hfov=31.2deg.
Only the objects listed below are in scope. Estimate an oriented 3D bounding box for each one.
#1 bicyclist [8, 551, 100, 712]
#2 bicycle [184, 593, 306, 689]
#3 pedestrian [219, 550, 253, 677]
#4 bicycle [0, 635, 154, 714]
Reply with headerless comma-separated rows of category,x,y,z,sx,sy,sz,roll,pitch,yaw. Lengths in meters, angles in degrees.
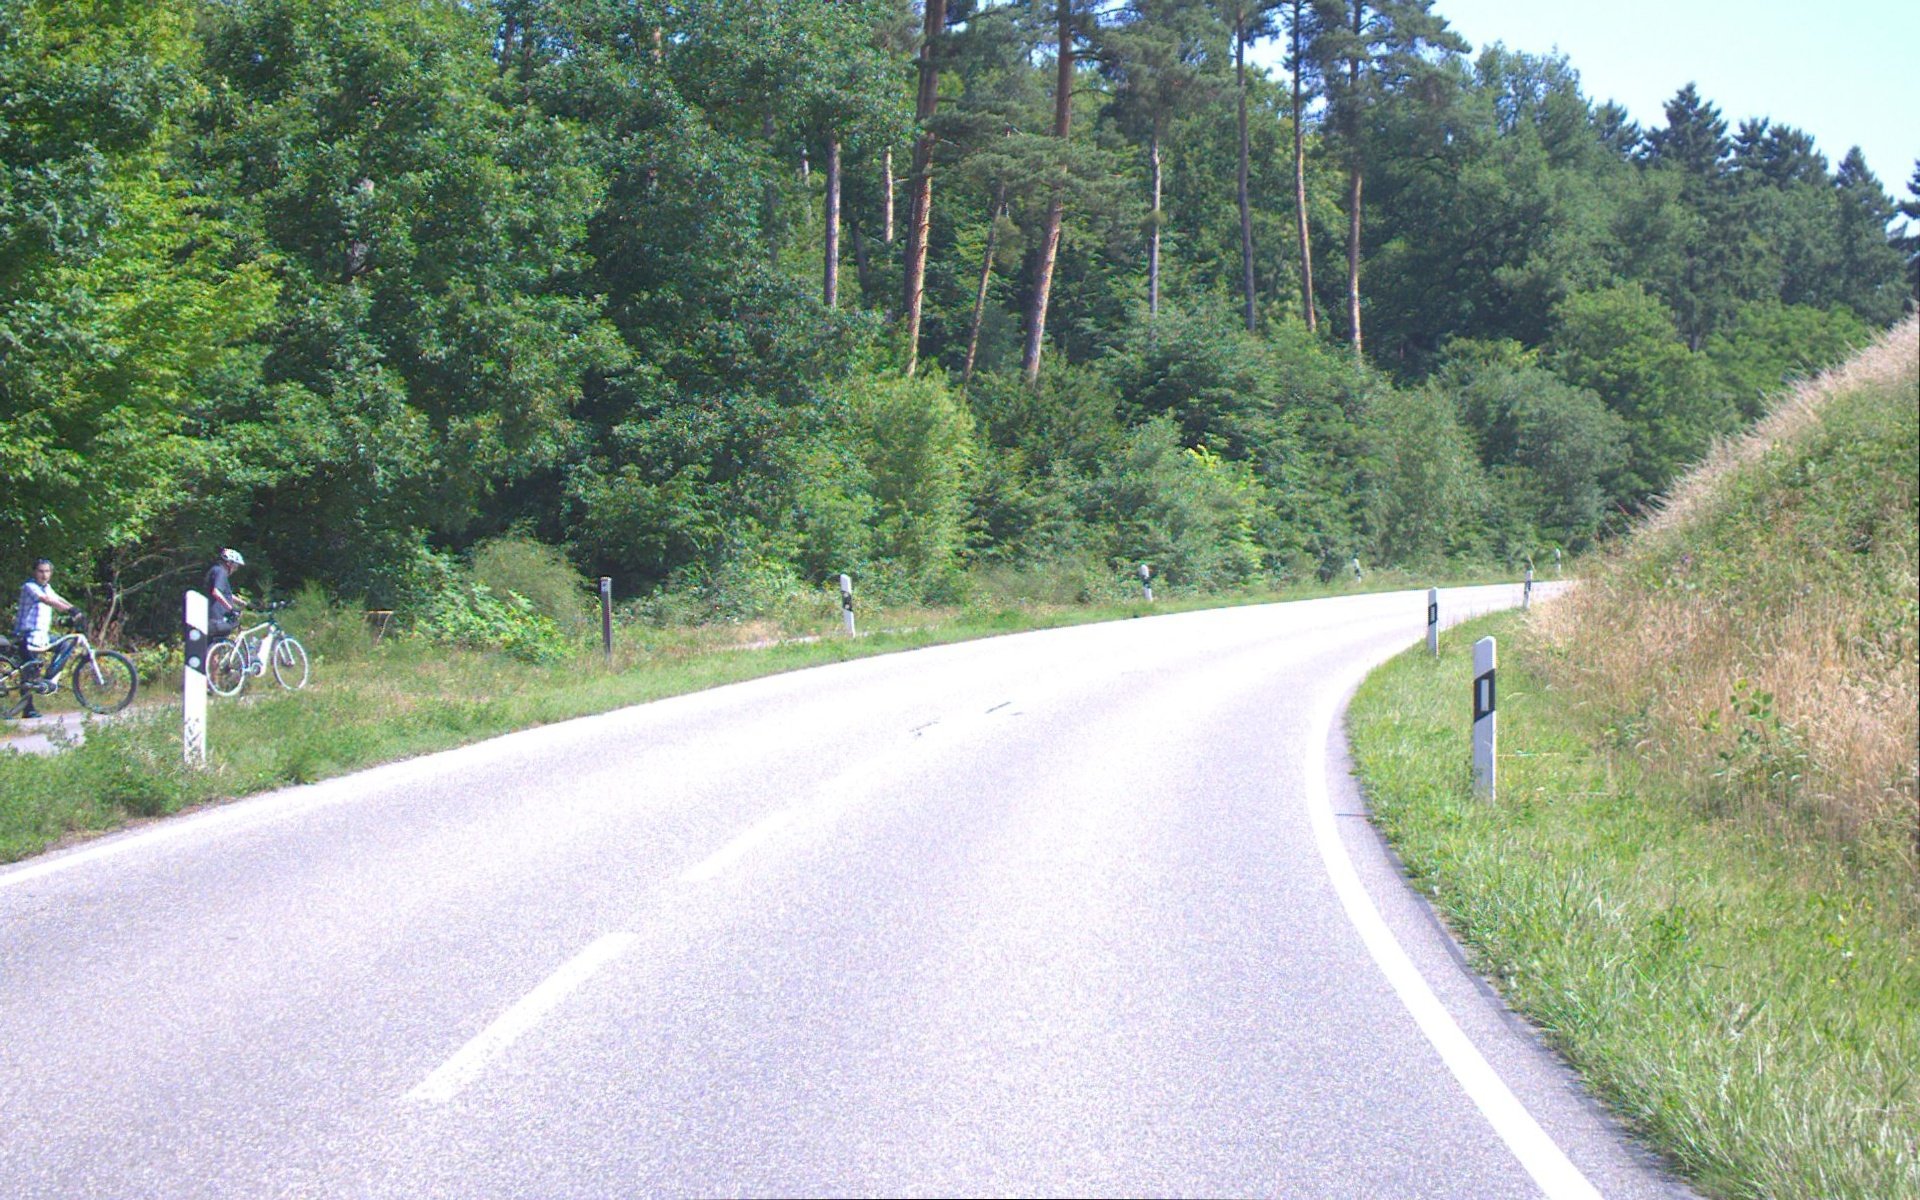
bicyclist,-9.771,0.332,37.077,0.787,1.713,0.606,1,0,-32
bicycle,-8.676,0.487,41.746,0.581,1.082,1.444,2,3,36
pedestrian,-8.817,0.156,41.872,0.284,1.533,0.390,-1,1,2
bicycle,-9.766,0.803,37.101,1.979,0.827,0.606,1,0,-32
